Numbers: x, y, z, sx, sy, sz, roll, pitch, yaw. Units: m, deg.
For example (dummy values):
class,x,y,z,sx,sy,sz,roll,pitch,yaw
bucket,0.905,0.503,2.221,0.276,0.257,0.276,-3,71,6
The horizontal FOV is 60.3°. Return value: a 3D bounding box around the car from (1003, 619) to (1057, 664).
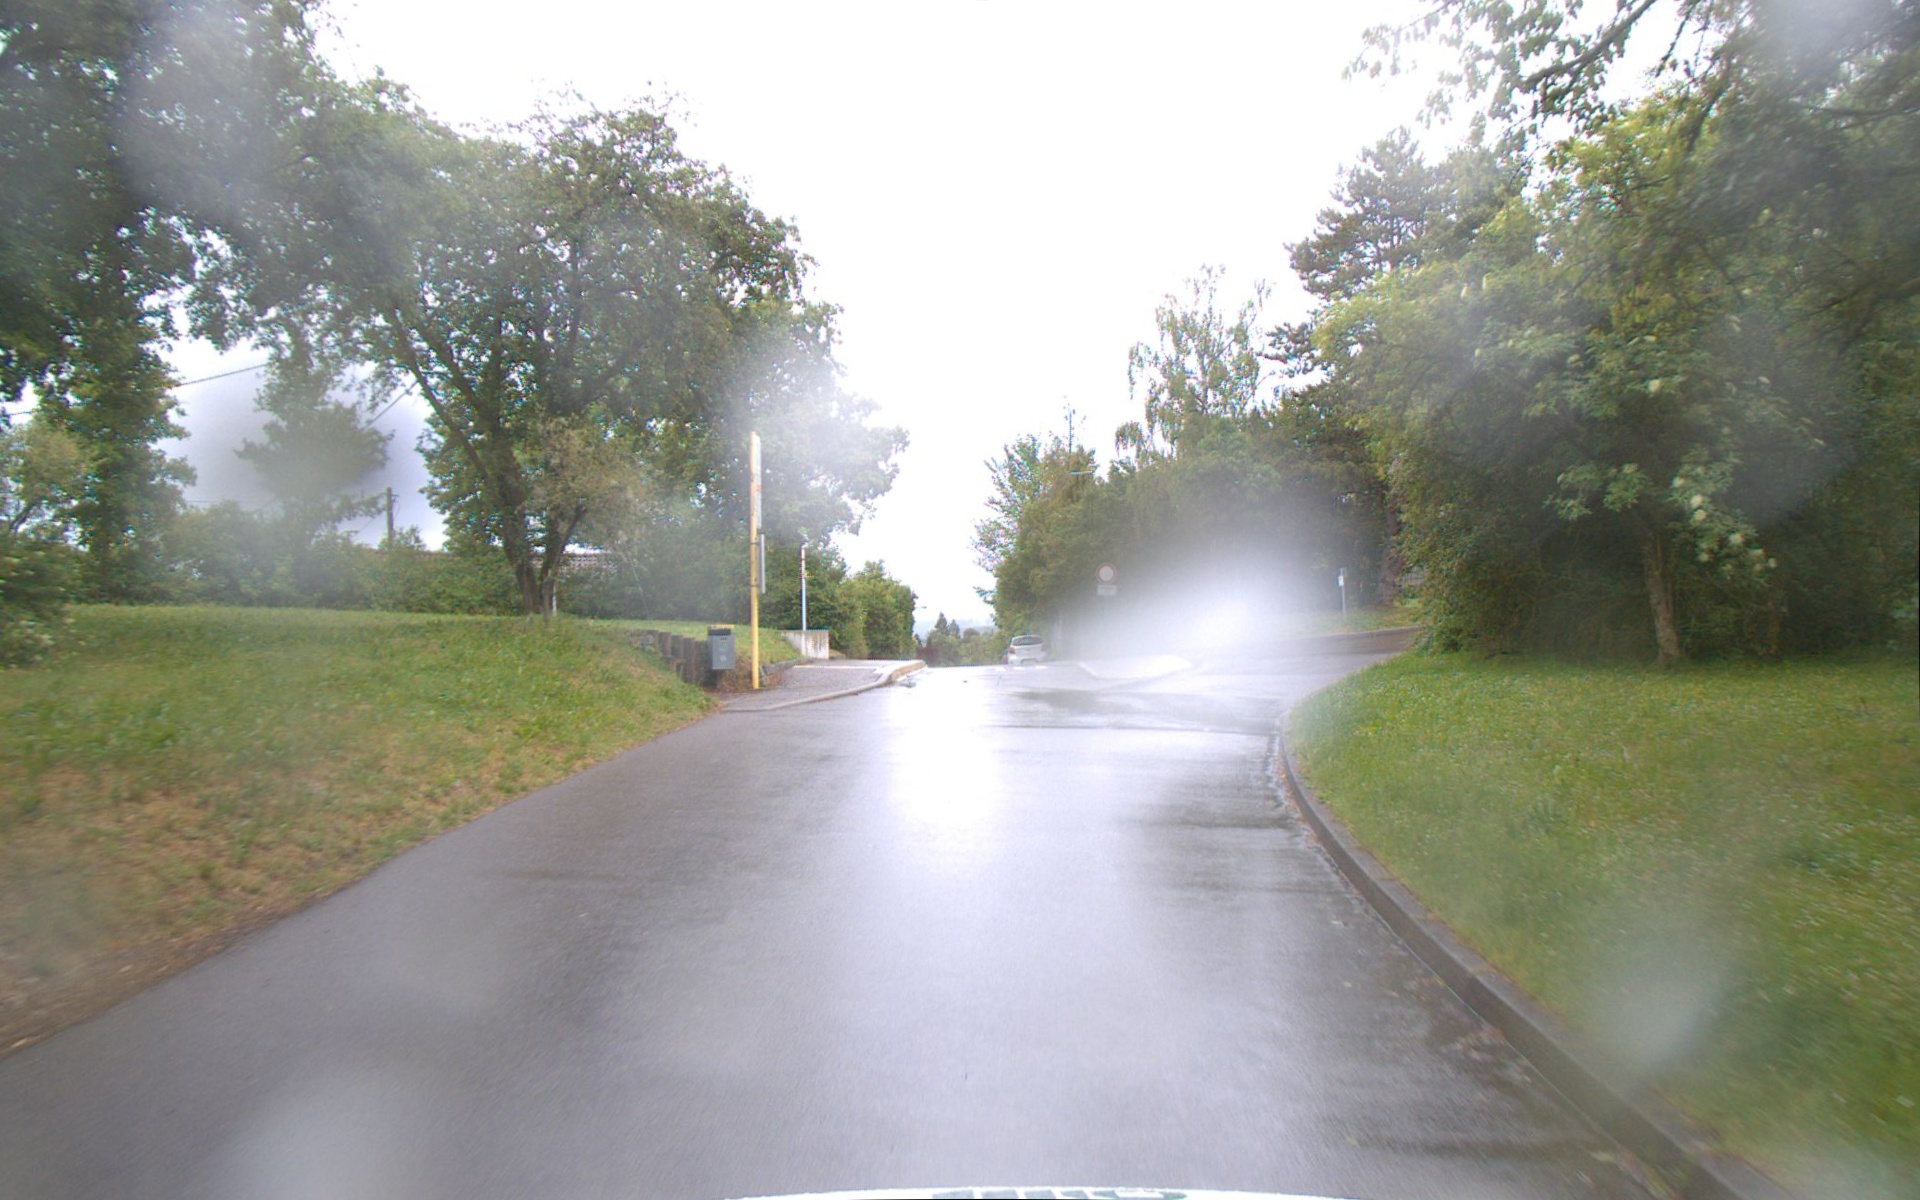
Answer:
class,x,y,z,sx,sy,sz,roll,pitch,yaw
car,2.849,1.697,66.471,1.951,1.611,4.001,-1,-4,5
